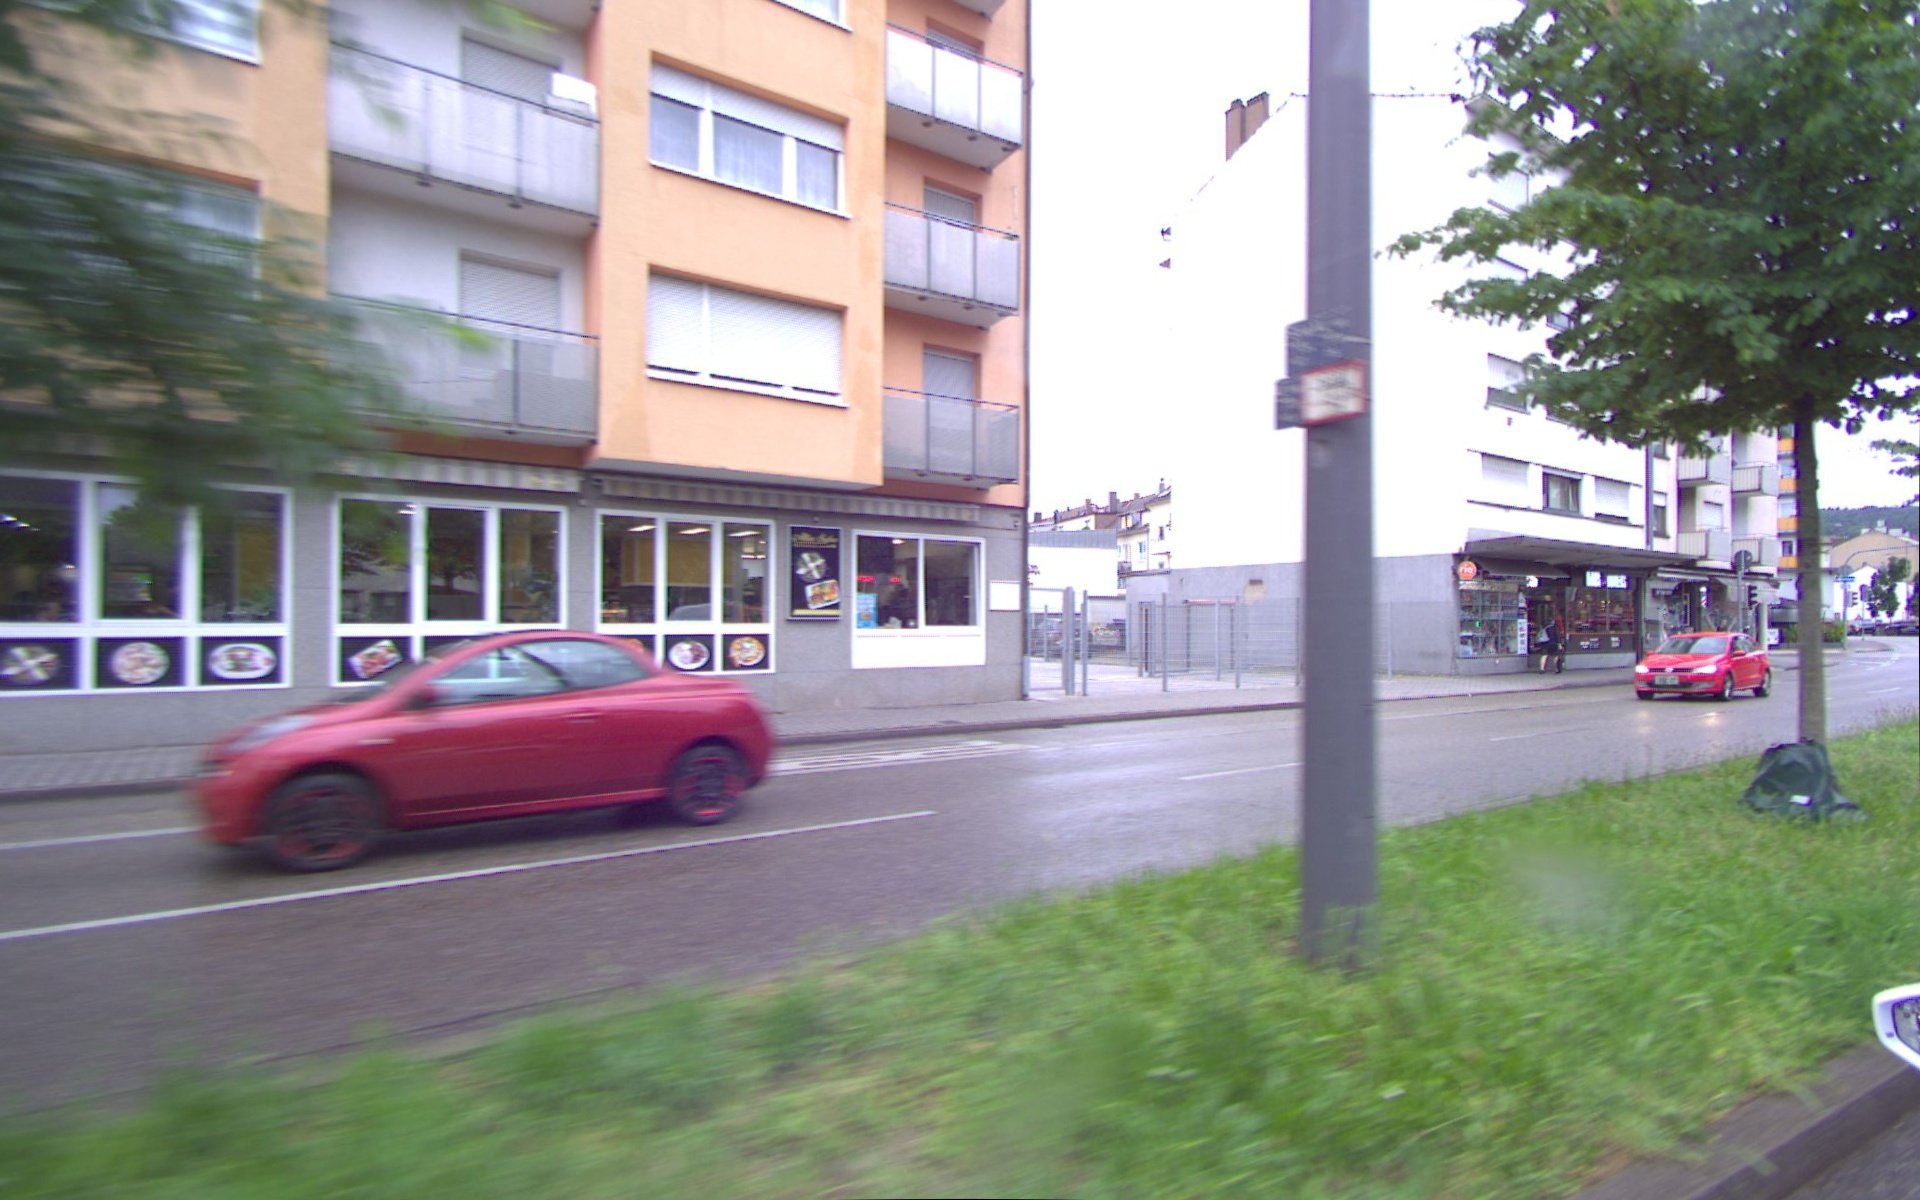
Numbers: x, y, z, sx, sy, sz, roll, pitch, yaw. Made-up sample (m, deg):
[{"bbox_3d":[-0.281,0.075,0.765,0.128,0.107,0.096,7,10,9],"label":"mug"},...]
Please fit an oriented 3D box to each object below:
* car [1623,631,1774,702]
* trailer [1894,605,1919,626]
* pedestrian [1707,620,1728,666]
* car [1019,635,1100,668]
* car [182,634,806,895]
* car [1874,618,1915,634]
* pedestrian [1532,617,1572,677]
[{"bbox_3d":[16.461,1.451,22.336,3.909,1.449,1.592,1,-4,-37],"label":"car"},{"bbox_3d":[126.853,2.074,134.037,2.097,2.751,5.379,-4,-3,31],"label":"trailer"},{"bbox_3d":[29.437,1.667,39.029,0.518,1.754,0.449,0,3,-31],"label":"pedestrian"},{"bbox_3d":[4.123,2.133,42.248,1.685,1.283,3.745,0,-1,-26],"label":"car"},{"bbox_3d":[-3.169,0.975,7.268,3.797,1.411,1.556,1,-3,-36],"label":"car"},{"bbox_3d":[86.626,2.412,93.169,1.639,1.415,3.863,-1,0,24],"label":"car"},{"bbox_3d":[18.018,1.404,30.567,0.653,1.753,0.773,0,3,-32],"label":"pedestrian"}]
